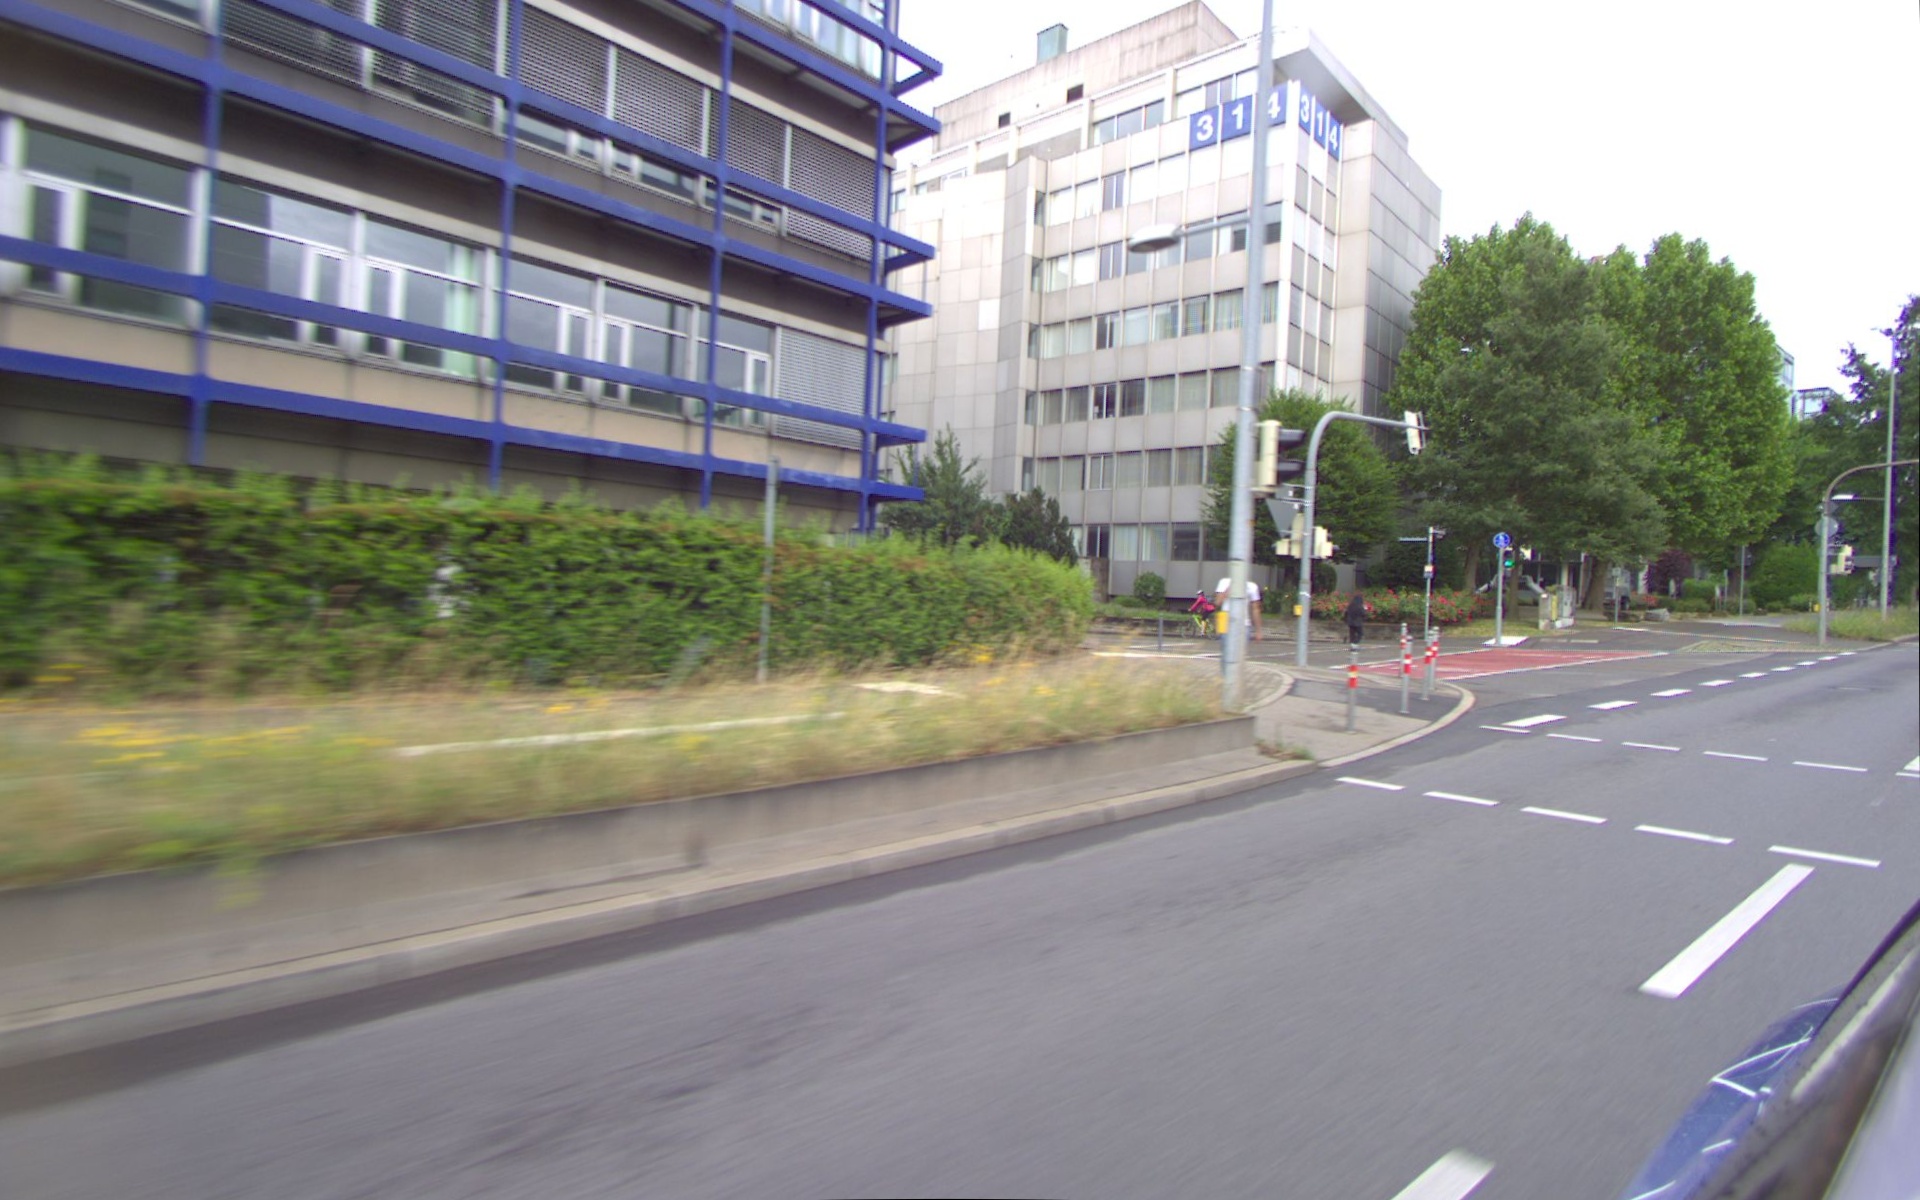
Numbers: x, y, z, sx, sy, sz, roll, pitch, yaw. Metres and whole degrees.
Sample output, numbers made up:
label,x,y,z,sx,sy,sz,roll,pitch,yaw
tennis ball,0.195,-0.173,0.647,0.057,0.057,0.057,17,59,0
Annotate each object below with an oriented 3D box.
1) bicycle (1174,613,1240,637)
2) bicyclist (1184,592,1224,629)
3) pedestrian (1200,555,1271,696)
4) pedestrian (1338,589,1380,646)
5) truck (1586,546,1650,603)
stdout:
label,x,y,z,sx,sy,sz,roll,pitch,yaw
bicycle,8.910,0.907,36.573,0.659,0.819,2.311,-1,0,-45
bicyclist,8.830,0.370,36.609,0.647,1.304,1.215,-1,-1,-45
pedestrian,3.418,0.293,12.549,0.553,1.673,0.820,1,1,40
pedestrian,11.094,0.469,28.174,0.784,1.560,0.904,0,1,-2
truck,31.327,-1.199,48.166,3.935,2.549,1.747,-1,0,-45
